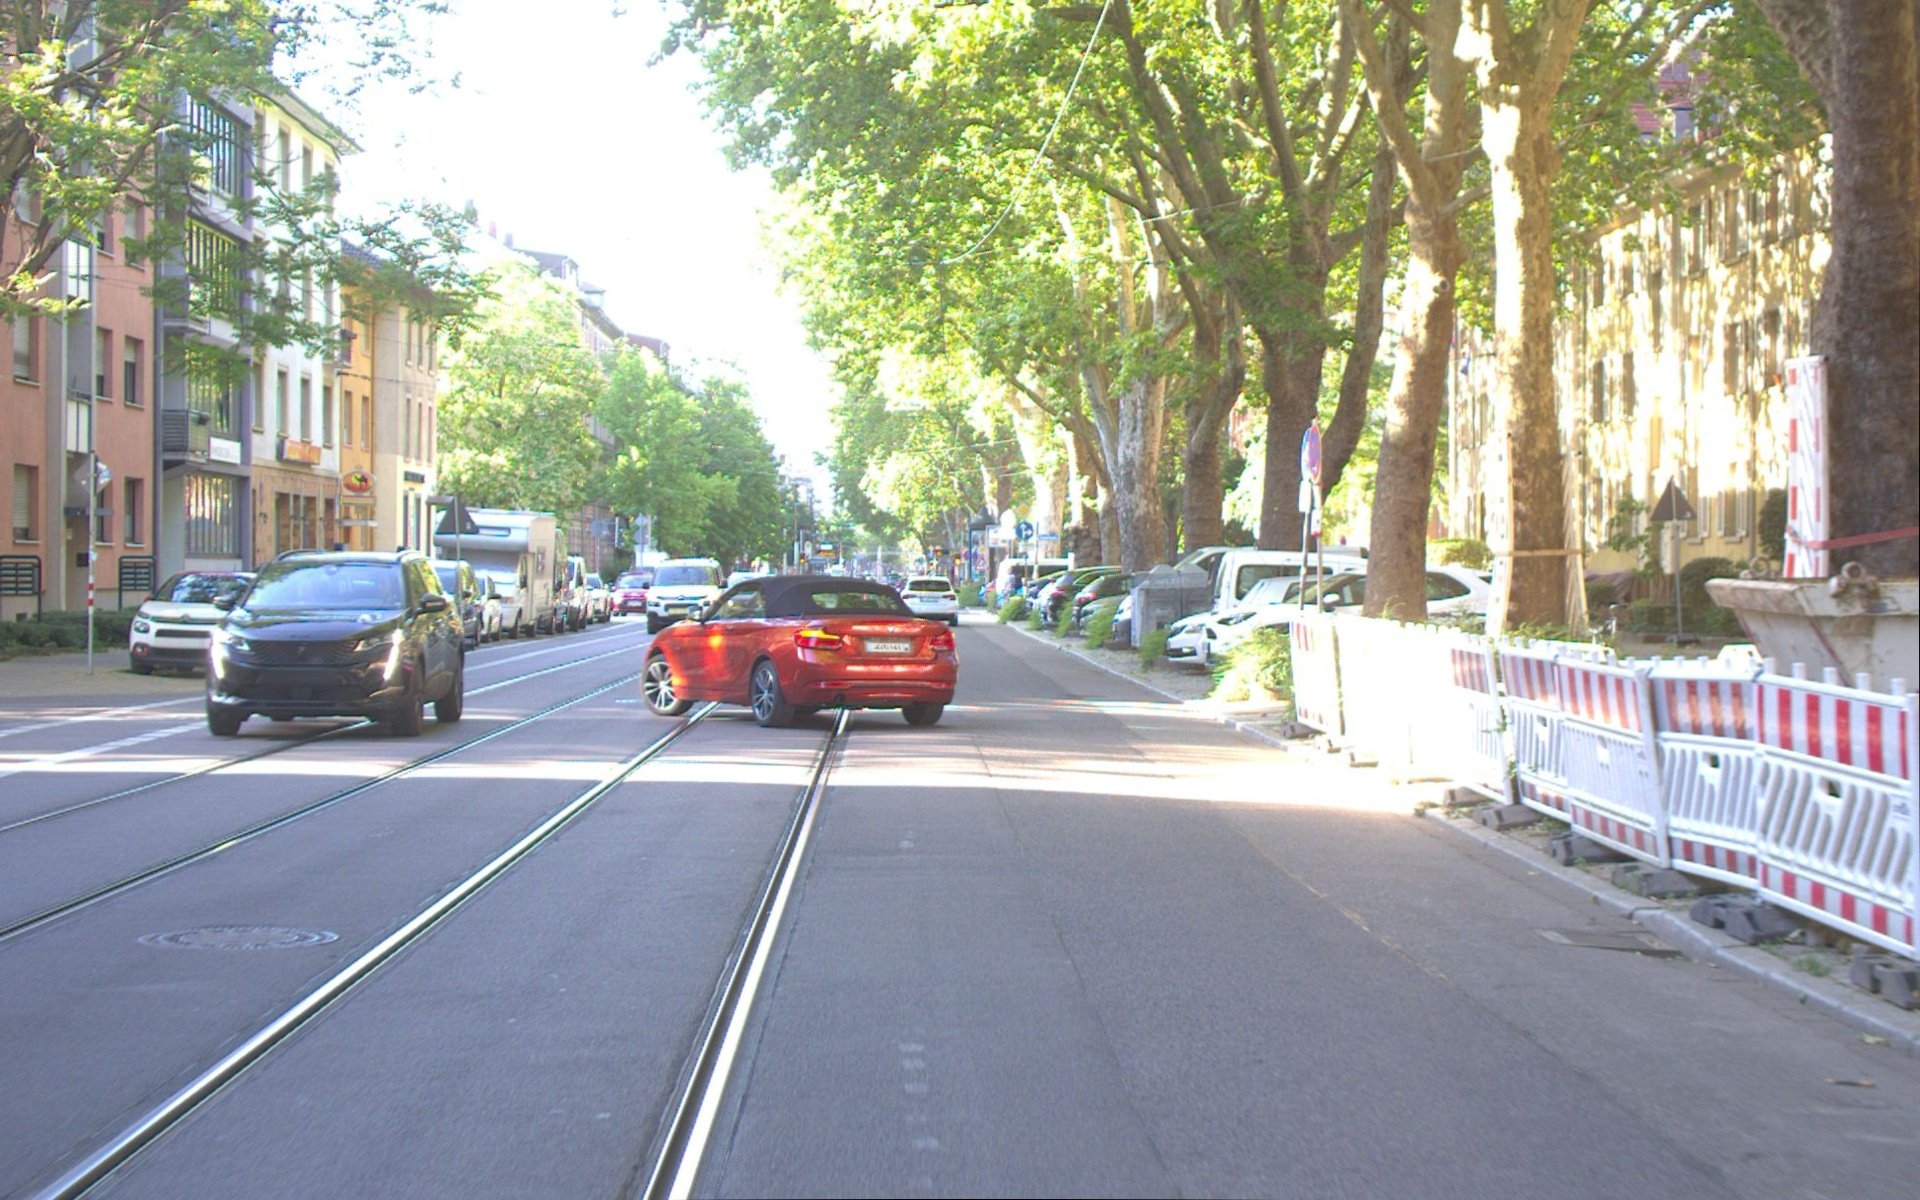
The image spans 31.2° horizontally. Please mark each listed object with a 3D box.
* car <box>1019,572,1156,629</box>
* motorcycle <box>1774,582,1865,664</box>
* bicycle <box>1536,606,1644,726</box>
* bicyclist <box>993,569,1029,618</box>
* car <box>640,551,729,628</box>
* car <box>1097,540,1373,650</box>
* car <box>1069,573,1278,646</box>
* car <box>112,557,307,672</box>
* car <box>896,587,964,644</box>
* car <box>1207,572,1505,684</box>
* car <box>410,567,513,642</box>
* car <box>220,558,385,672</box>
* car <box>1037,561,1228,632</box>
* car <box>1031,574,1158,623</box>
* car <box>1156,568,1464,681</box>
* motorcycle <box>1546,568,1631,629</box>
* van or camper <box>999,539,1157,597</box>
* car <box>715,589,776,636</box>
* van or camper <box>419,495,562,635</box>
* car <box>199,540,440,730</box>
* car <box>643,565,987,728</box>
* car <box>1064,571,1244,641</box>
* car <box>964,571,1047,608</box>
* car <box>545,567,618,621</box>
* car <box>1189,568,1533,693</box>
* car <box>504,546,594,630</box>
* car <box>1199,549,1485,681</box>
[{"bbox_3d":[3.797,0.003,102.801,3.923,1.664,1.961,1,0,-2],"label":"car"},{"bbox_3d":[12.425,0.321,49.734,0.715,1.149,2.264,0,0,-1],"label":"motorcycle"},{"bbox_3d":[6.364,0.652,34.819,0.690,1.150,1.949,1,0,-1],"label":"bicycle"},{"bbox_3d":[1.763,-0.226,119.805,1.045,1.700,1.058,0,0,-10],"label":"bicyclist"},{"bbox_3d":[-6.792,-0.266,85.054,1.891,1.826,4.896,1,0,-1],"label":"car"},{"bbox_3d":[5.039,-0.102,63.513,4.835,1.956,2.065,1,0,-3],"label":"car"},{"bbox_3d":[4.475,0.190,72.413,4.247,1.478,1.898,1,0,-1],"label":"car"},{"bbox_3d":[-10.559,0.196,48.648,1.806,1.473,4.090,3,0,0],"label":"car"},{"bbox_3d":[-0.907,0.442,100.350,1.918,1.579,3.791,-1,0,-1],"label":"car"},{"bbox_3d":[5.263,0.361,46.060,3.844,1.428,1.851,1,0,3],"label":"car"},{"bbox_3d":[-10.791,0.070,74.641,1.710,1.483,3.862,4,0,-2],"label":"car"},{"bbox_3d":[-10.291,0.200,54.128,1.781,1.605,4.588,3,0,-2],"label":"car"},{"bbox_3d":[4.159,-0.090,82.774,4.496,1.596,2.027,-1,0,3],"label":"car"},{"bbox_3d":[3.921,-0.046,100.689,3.650,1.373,1.890,1,0,0],"label":"car"},{"bbox_3d":[5.046,0.342,50.046,4.371,1.537,1.801,1,1,3],"label":"car"},{"bbox_3d":[14.705,-0.038,80.400,1.803,1.356,0.622,-2,0,-3],"label":"motorcycle"},{"bbox_3d":[4.342,-1.175,126.957,5.554,2.006,2.245,0,3,-5],"label":"van or camper"},{"bbox_3d":[-6.846,0.387,110.166,1.775,1.453,4.203,-1,0,-1],"label":"car"},{"bbox_3d":[-11.020,-0.811,81.142,2.337,3.030,6.397,4,0,0],"label":"van or camper"},{"bbox_3d":[-5.728,0.267,31.168,1.853,1.595,4.465,0,1,-7],"label":"car"},{"bbox_3d":[-1.473,0.414,33.107,1.792,1.384,4.237,1,1,-25],"label":"car"},{"bbox_3d":[4.287,0.129,76.319,3.838,1.504,1.711,1,0,-1],"label":"car"},{"bbox_3d":[2.185,-0.521,167.001,3.987,1.778,2.000,0,0,0],"label":"car"},{"bbox_3d":[-11.475,-0.204,104.357,1.836,1.463,5.070,4,0,-3],"label":"car"},{"bbox_3d":[5.059,0.380,43.741,4.087,1.516,1.917,1,0,-2],"label":"car"},{"bbox_3d":[-11.176,-0.367,93.817,1.952,2.084,5.249,4,1,-3],"label":"car"},{"bbox_3d":[5.291,0.193,48.021,3.844,1.766,1.916,1,0,3],"label":"car"}]
